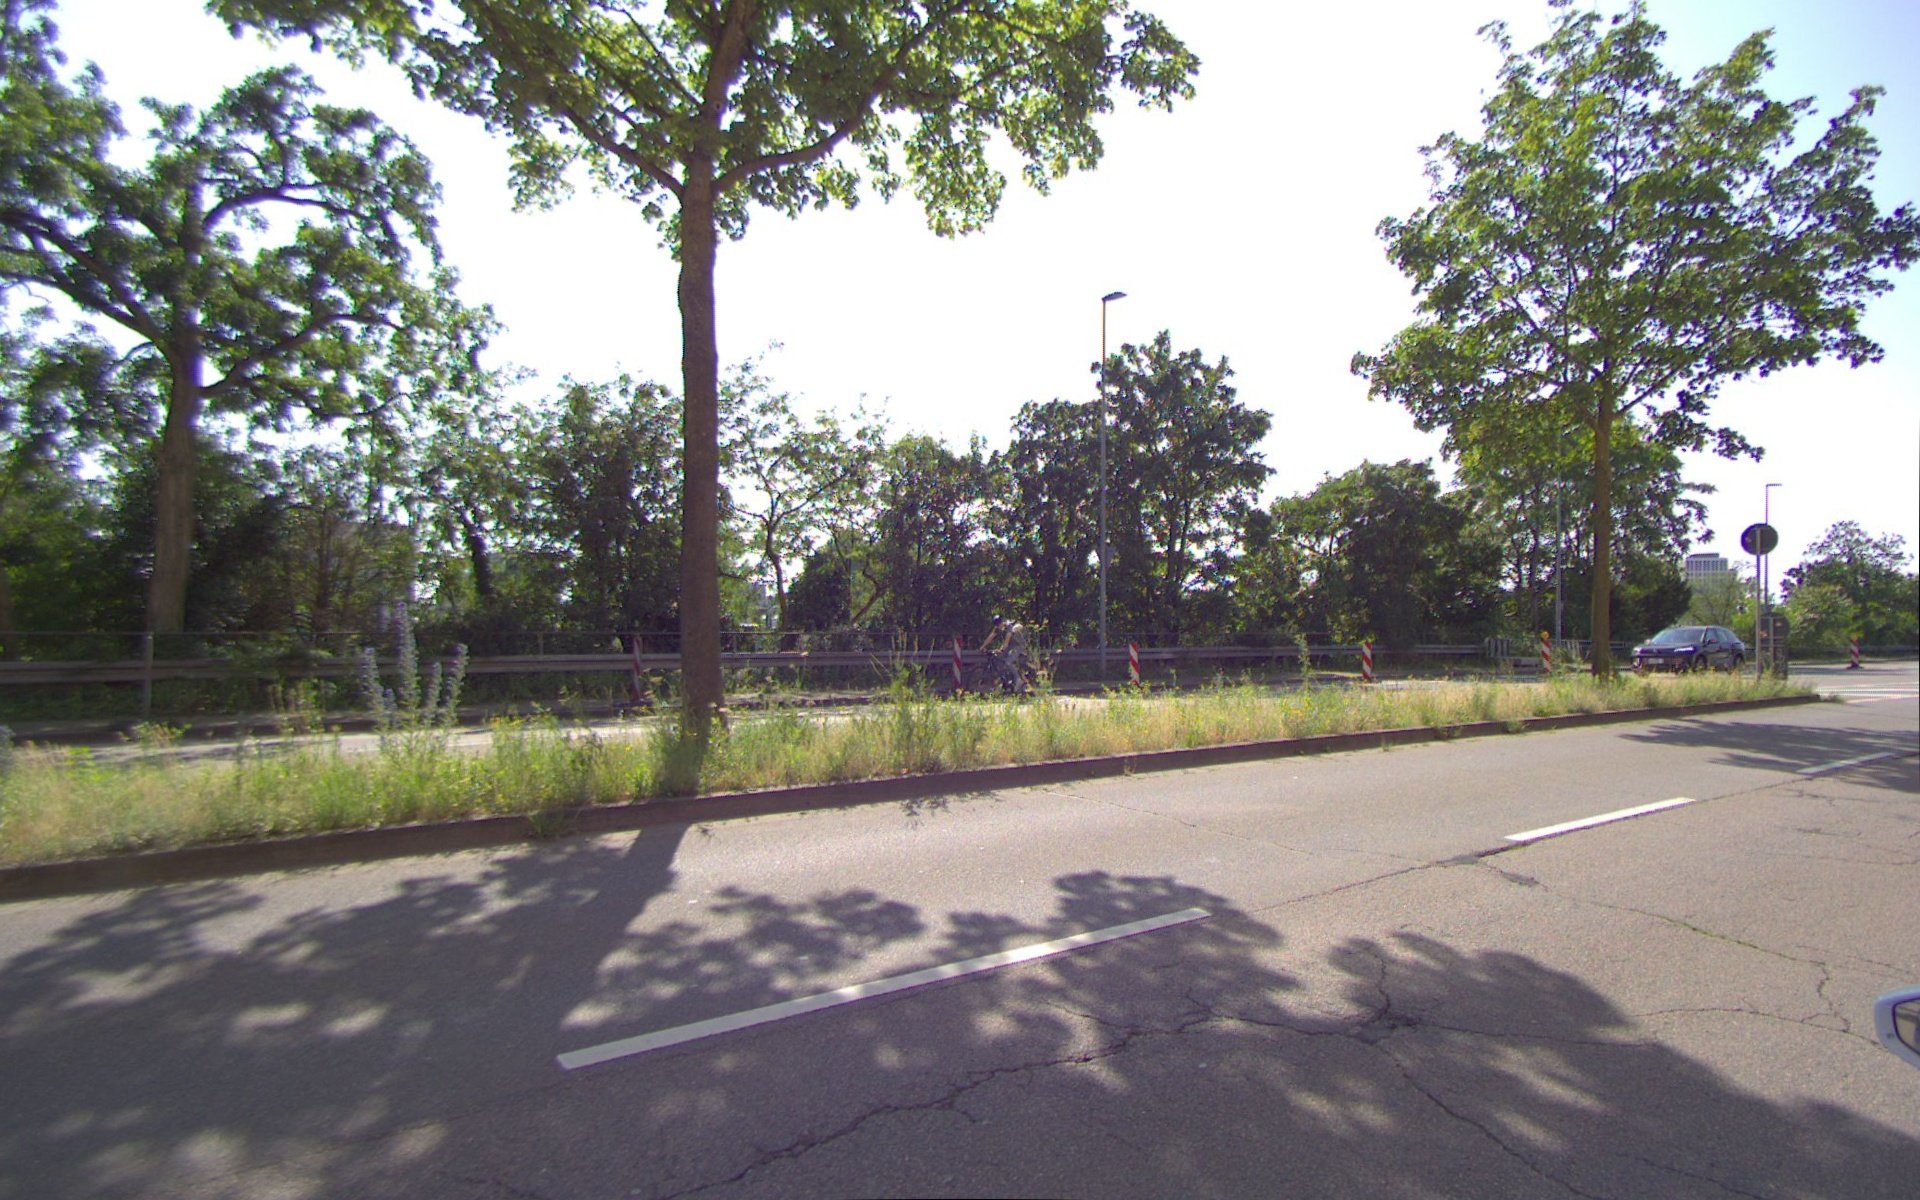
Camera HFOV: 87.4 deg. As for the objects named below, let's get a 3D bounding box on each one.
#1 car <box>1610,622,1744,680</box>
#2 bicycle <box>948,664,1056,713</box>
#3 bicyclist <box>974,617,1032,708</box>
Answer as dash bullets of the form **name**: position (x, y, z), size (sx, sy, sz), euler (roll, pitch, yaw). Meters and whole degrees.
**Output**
- **car**: position (23.217, 1.612, 32.466), size (4.679, 1.756, 1.982), euler (1, -2, -33)
- **bicycle**: position (0.896, 1.815, 20.940), size (2.317, 0.917, 0.689), euler (1, -2, -34)
- **bicyclist**: position (0.902, 1.281, 20.951), size (1.006, 1.856, 0.692), euler (1, -2, -34)
